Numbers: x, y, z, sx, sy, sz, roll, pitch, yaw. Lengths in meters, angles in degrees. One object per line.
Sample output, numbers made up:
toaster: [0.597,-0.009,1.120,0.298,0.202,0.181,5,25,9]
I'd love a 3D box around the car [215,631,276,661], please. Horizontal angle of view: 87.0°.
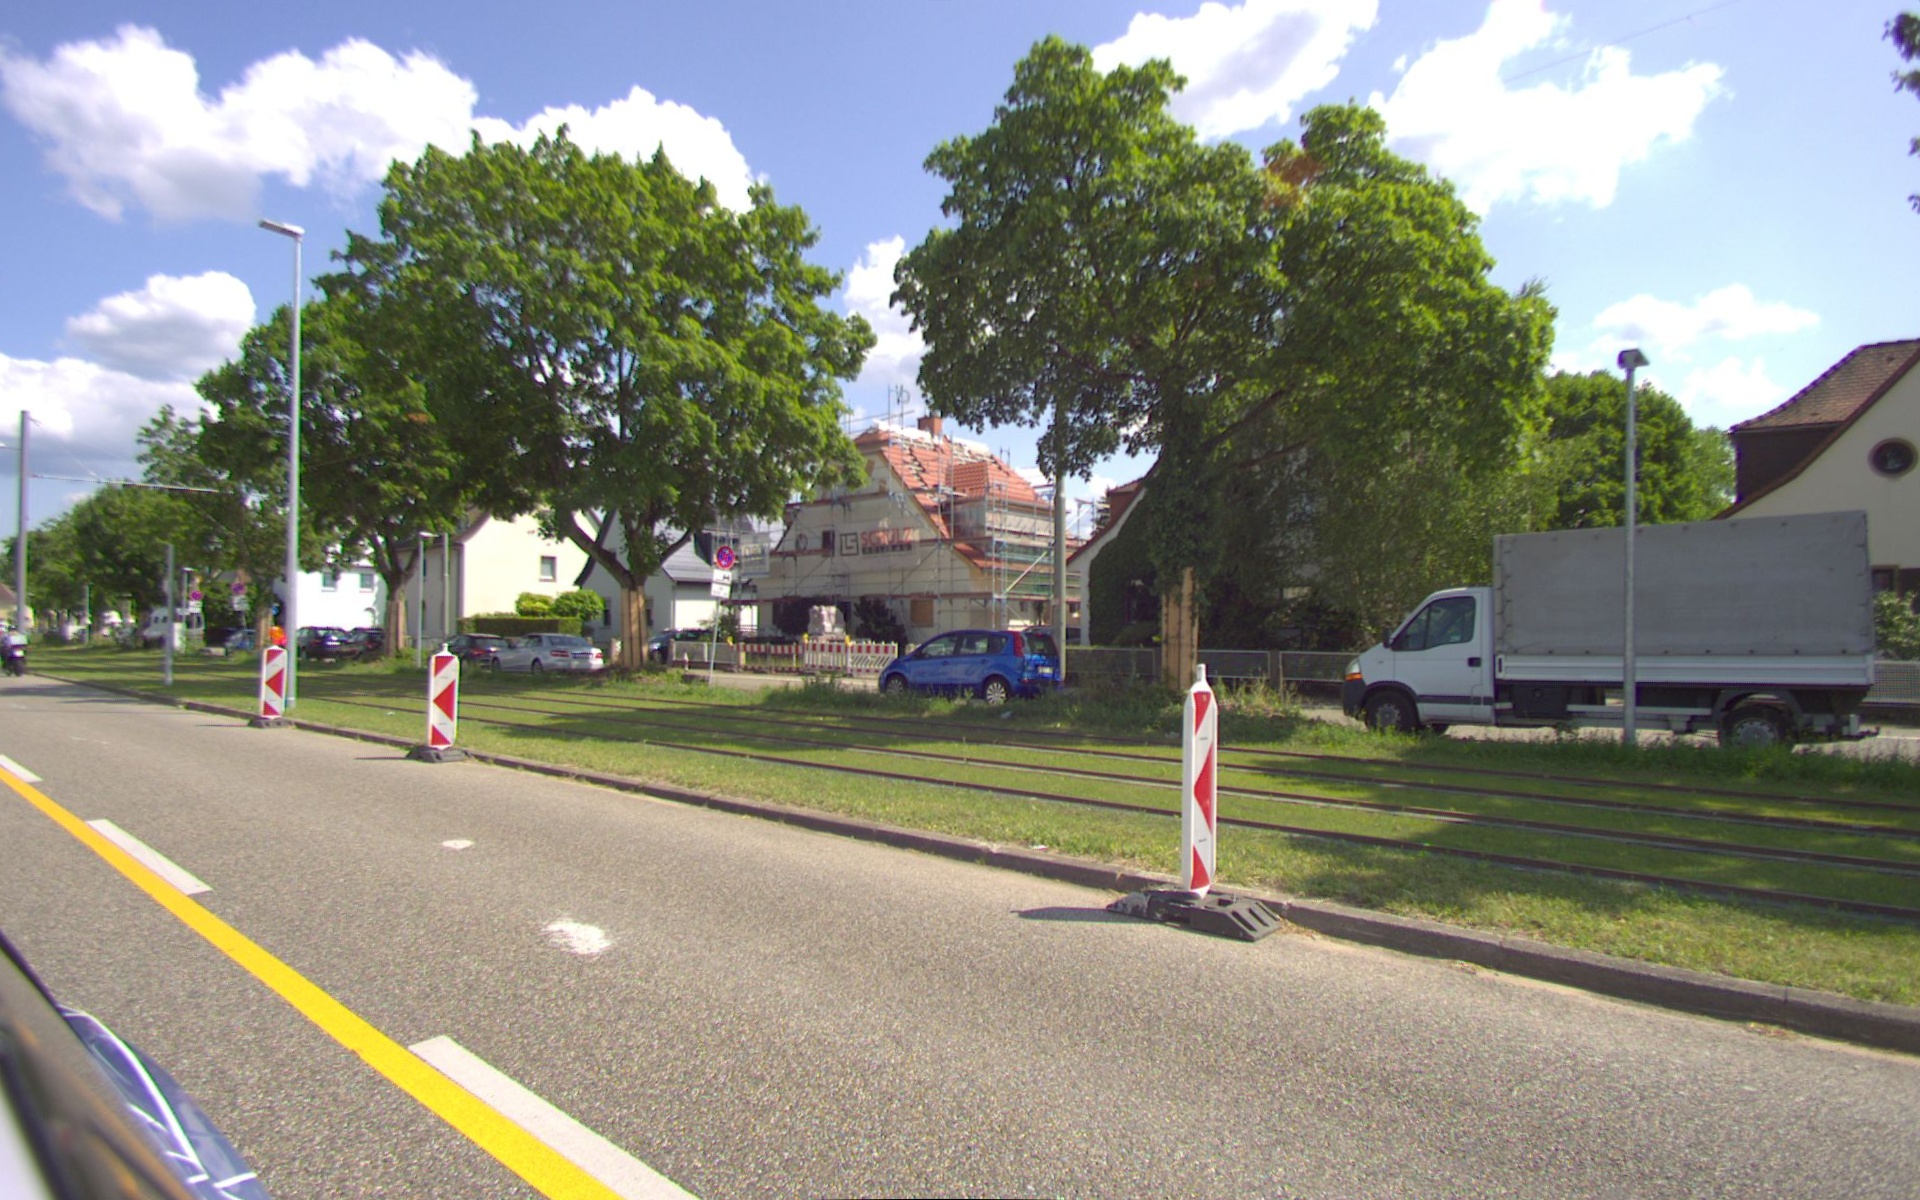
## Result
car: [-37.468,2.427,53.036,4.403,1.497,1.680,-3,-3,41]

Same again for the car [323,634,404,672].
car: [-25.176,2.253,42.656,4.403,1.497,1.680,-3,-3,41]

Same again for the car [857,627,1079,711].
car: [0.063,1.352,20.276,4.403,1.497,1.680,-3,-3,41]

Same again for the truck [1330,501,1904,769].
truck: [8.302,0.455,13.406,5.971,2.802,2.242,-2,-3,41]

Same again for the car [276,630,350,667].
car: [-29.490,2.225,46.079,4.403,1.584,1.680,-3,-3,41]

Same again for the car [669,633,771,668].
car: [-10.922,2.292,46.215,1.702,1.497,4.345,-3,-3,41]

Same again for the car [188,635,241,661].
car: [-44.472,2.875,60.335,4.403,1.497,1.680,-3,-3,41]

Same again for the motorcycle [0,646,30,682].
motorcycle: [-29.503,1.971,31.261,2.105,1.054,0.652,-1,-2,34]

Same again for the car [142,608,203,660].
car: [-49.511,2.161,63.612,5.080,3.061,2.108,-3,-3,41]

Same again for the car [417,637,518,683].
car: [-17.517,2.119,35.898,4.403,1.497,1.680,-3,-3,41]

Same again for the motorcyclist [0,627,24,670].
motorcyclist: [-29.514,1.503,31.283,0.777,1.301,0.652,-1,-3,33]

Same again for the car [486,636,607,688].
car: [-13.087,1.932,31.867,4.520,1.497,1.765,-4,-3,42]
